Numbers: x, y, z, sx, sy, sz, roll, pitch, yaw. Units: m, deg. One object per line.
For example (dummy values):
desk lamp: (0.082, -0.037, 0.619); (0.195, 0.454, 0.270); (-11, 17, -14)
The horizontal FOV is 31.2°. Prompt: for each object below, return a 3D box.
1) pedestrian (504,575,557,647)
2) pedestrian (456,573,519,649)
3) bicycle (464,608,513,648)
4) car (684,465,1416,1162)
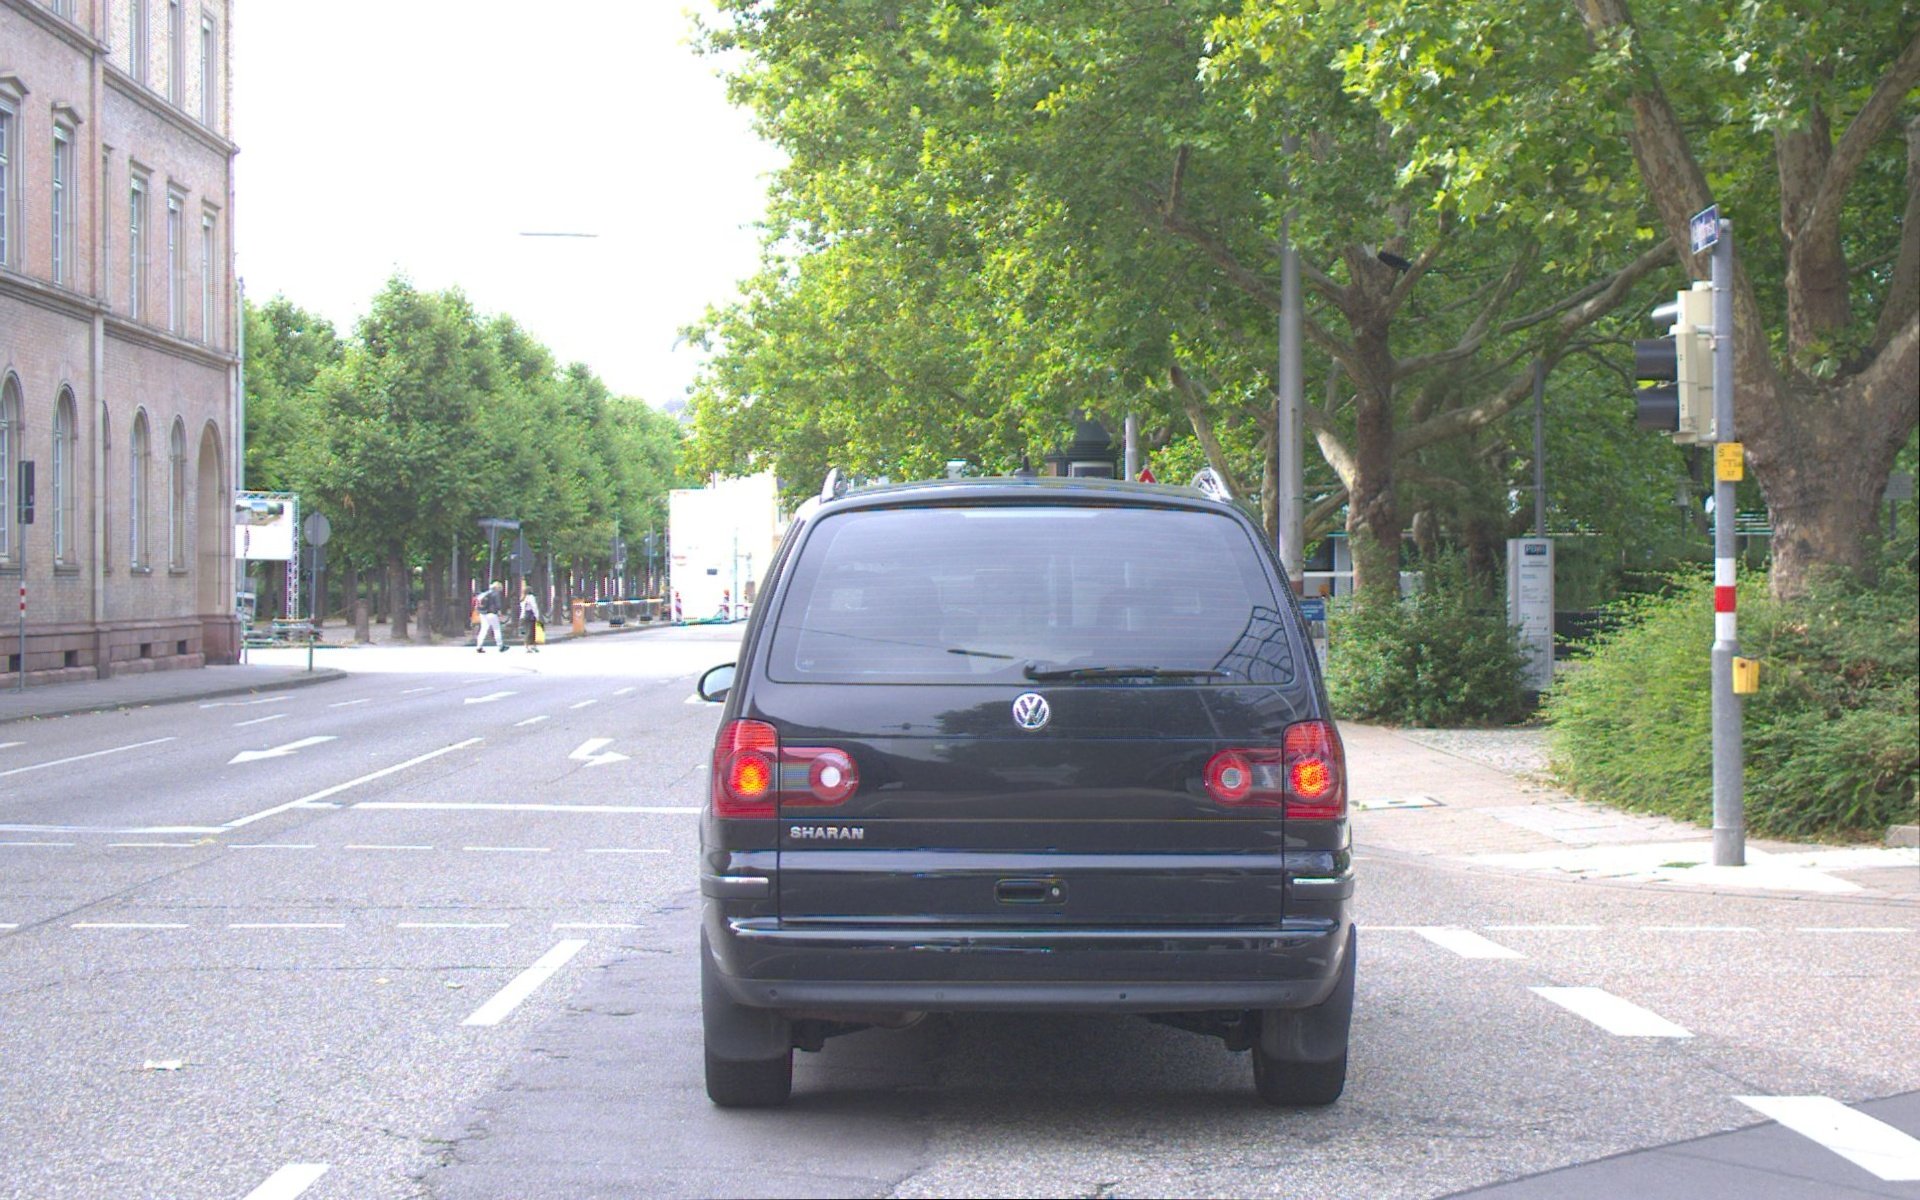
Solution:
pedestrian: (-9.979, 0.254, 79.855); (0.897, 1.636, 0.851); (2, 0, 18)
pedestrian: (-11.024, 0.256, 80.212); (0.961, 1.735, 1.255); (2, 0, 18)
bicycle: (-13.912, 0.822, 101.431); (0.952, 1.106, 2.580); (1, 1, -18)
car: (0.181, 0.502, 10.504); (1.793, 1.702, 4.131); (0, 1, -1)
